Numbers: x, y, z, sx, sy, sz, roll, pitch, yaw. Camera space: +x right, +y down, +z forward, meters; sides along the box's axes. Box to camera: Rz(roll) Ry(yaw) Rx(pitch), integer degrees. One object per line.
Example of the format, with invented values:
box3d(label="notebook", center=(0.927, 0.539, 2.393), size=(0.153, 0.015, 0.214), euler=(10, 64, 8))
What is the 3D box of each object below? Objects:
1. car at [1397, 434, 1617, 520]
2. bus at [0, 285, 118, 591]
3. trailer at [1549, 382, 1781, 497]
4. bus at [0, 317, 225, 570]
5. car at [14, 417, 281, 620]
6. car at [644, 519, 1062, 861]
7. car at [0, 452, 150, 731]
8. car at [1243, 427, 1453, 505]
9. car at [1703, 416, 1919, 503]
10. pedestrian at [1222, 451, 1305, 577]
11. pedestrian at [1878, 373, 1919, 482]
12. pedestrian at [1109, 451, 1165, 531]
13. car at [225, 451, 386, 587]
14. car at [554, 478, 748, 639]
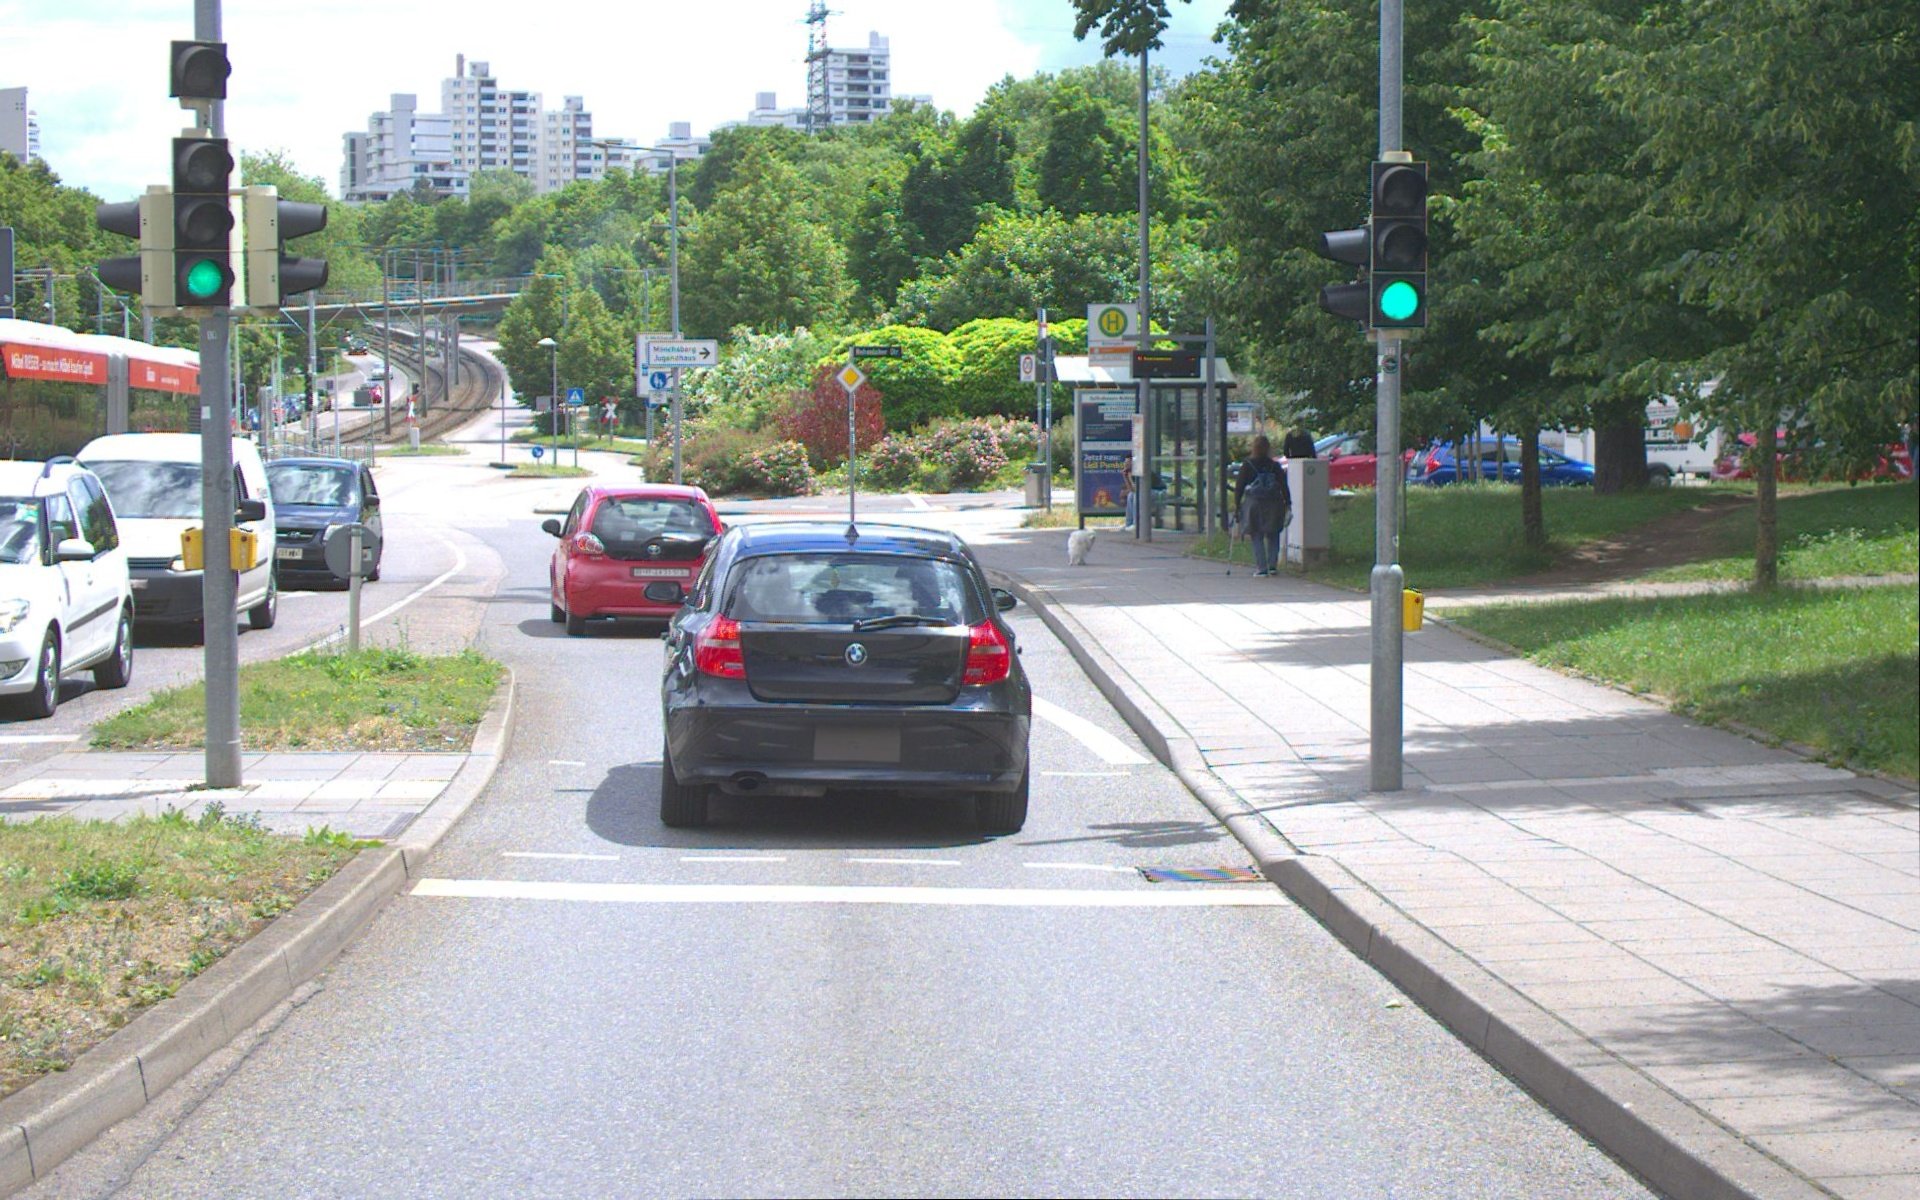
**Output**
box3d(label="car", center=(10.535, -2.388, 66.336), size=(3.792, 1.451, 1.897), euler=(-2, 4, -6))
box3d(label="bus", center=(-11.229, -1.710, 36.653), size=(2.725, 3.098, 9.706), euler=(0, 2, -4))
box3d(label="trailer", center=(15.575, -3.561, 76.097), size=(4.536, 2.478, 2.222), euler=(0, 4, -6))
box3d(label="bus", center=(-11.893, -2.150, 46.035), size=(2.725, 3.059, 8.966), euler=(0, 3, -4))
box3d(label="car", center=(-7.217, -0.683, 30.919), size=(1.761, 1.657, 4.507), euler=(-1, 0, -6))
box3d(label="car", center=(-0.648, 0.347, 17.147), size=(1.815, 1.416, 4.001), euler=(-1, 2, -5))
box3d(label="car", center=(-6.629, -0.140, 22.887), size=(1.699, 1.643, 4.079), euler=(1, 3, -3))
box3d(label="car", center=(8.461, -2.939, 75.150), size=(4.155, 1.556, 2.001), euler=(-1, 5, -9))
box3d(label="car", center=(16.557, -2.745, 66.870), size=(3.686, 1.638, 1.830), euler=(0, 4, -6))
box3d(label="pedestrian", center=(3.470, -0.991, 39.332), size=(0.819, 1.419, 0.830), euler=(-1, 2, -4))
box3d(label="pedestrian", center=(15.552, -2.817, 56.067), size=(0.986, 1.754, 0.858), euler=(0, 2, 6))
box3d(label="pedestrian", center=(2.819, -1.739, 54.740), size=(0.827, 1.254, 0.686), euler=(0, 3, -1))
box3d(label="car", center=(-7.944, -1.026, 41.973), size=(1.529, 1.545, 3.733), euler=(1, 2, -5))
box3d(label="car", center=(-3.071, -0.452, 33.678), size=(1.765, 1.427, 3.480), euler=(-1, 3, -7))
